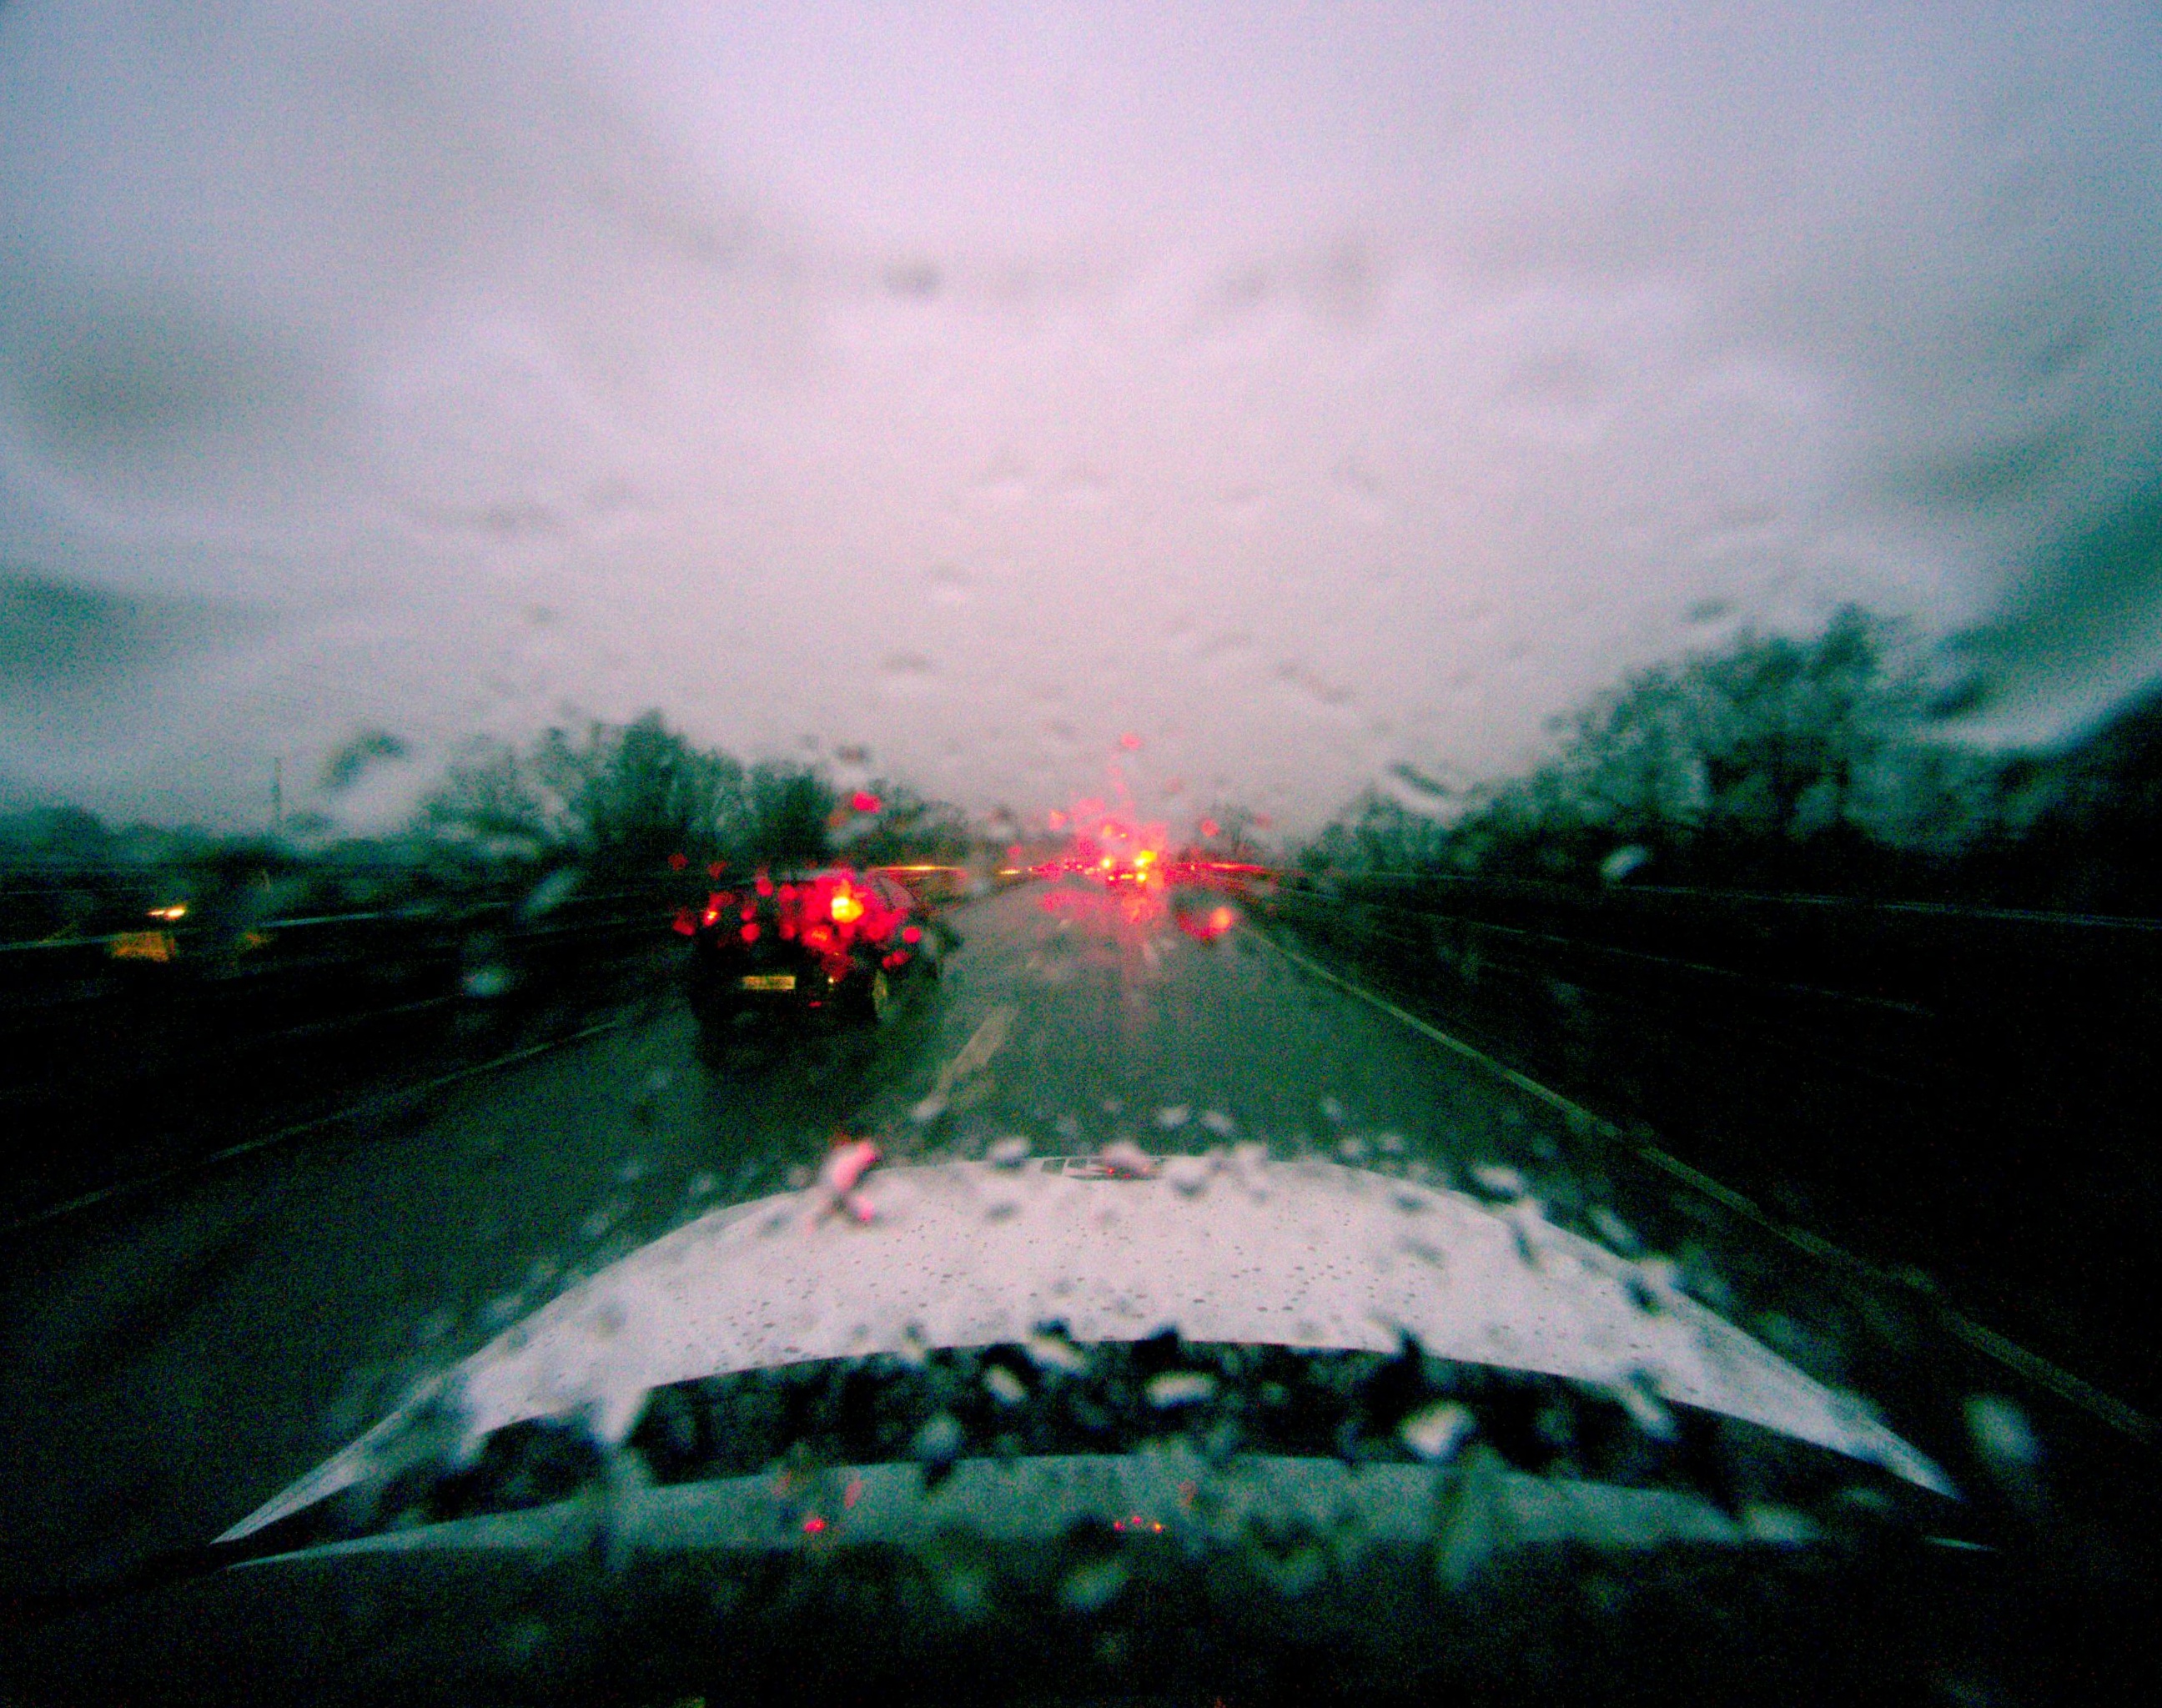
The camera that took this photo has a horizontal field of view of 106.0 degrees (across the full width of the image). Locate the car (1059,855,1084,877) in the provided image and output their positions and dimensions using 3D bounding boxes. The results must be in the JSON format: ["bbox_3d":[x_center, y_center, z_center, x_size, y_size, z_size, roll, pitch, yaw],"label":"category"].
[{"bbox_3d":[-0.811,1.030,71.348,1.987,1.815,4.000,1,0,1],"label":"car"}]

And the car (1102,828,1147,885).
[{"bbox_3d":[2.425,0.223,46.470,2.273,2.966,6.393,-2,-2,2],"label":"car"}]

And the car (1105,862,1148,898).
[{"bbox_3d":[1.991,1.086,35.263,1.729,1.414,4.381,1,-1,4],"label":"car"}]

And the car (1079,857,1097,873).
[{"bbox_3d":[0.771,1.228,90.281,1.987,1.714,4.000,1,0,1],"label":"car"}]

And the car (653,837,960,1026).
[{"bbox_3d":[-2.595,0.664,8.800,1.723,1.532,4.045,-1,-1,3],"label":"car"}]
